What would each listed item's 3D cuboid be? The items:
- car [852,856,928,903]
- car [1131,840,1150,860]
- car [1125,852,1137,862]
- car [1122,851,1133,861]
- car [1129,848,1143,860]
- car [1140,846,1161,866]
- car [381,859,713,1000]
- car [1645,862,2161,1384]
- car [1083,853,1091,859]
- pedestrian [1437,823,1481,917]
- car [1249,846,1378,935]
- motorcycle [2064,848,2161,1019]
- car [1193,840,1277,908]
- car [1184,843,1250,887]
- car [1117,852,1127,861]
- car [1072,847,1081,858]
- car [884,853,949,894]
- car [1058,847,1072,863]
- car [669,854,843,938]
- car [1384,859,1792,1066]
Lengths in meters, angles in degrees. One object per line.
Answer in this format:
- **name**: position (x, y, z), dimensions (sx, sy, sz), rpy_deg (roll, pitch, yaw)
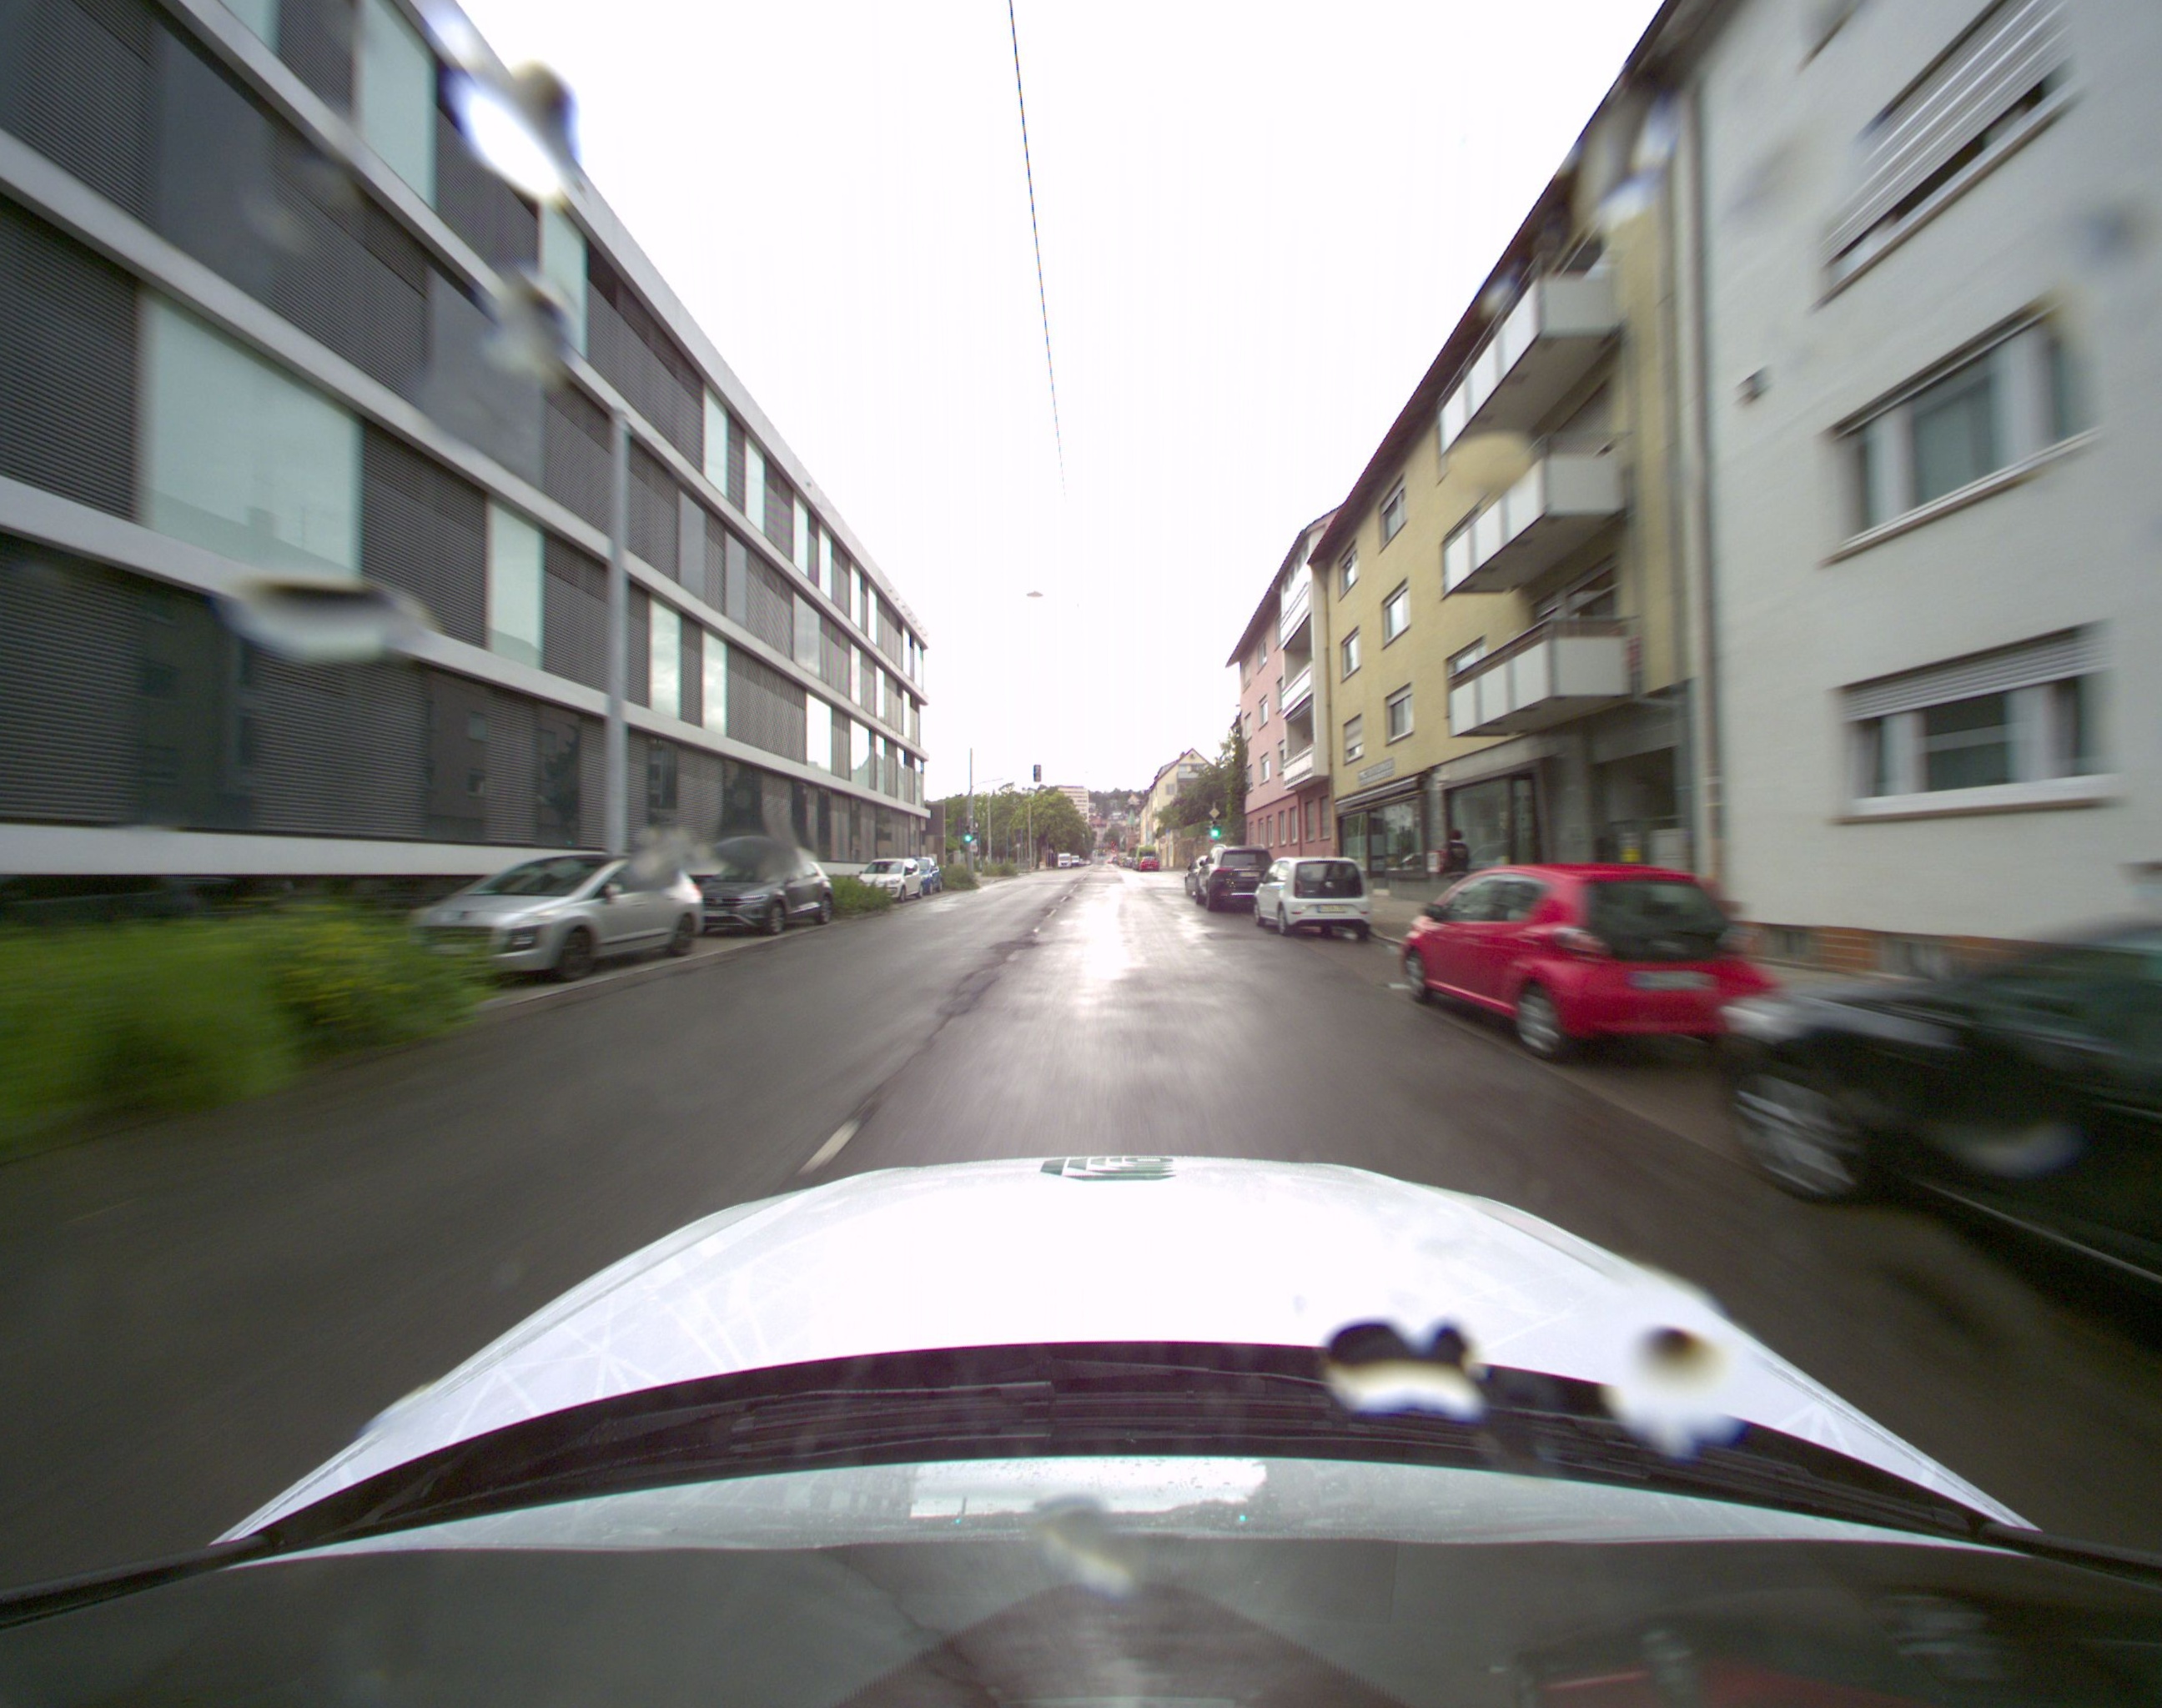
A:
- **car**: position (-6.648, 0.839, 28.663), dimensions (1.588, 1.459, 3.722), rpy_deg (-1, 1, 3)
- **car**: position (6.136, -0.380, 83.778), dimensions (1.858, 1.973, 4.194), rpy_deg (-1, 0, 5)
- **car**: position (7.948, 0.489, 129.319), dimensions (1.858, 1.604, 4.194), rpy_deg (-1, 0, 5)
- **car**: position (8.271, 0.351, 144.675), dimensions (1.858, 1.604, 4.194), rpy_deg (-1, 0, 5)
- **car**: position (7.447, 0.024, 109.961), dimensions (1.858, 1.604, 4.194), rpy_deg (-1, 0, 5)
- **car**: position (6.349, 0.187, 74.622), dimensions (1.858, 1.770, 4.194), rpy_deg (-1, 0, 5)
- **car**: position (-7.163, 0.895, 11.595), dimensions (1.764, 1.534, 4.318), rpy_deg (-1, 1, 2)
- **car**: position (3.936, 0.779, 2.524), dimensions (1.700, 1.454, 3.986), rpy_deg (-1, 0, 1)
- **car**: position (1.811, 0.598, 241.622), dimensions (2.030, 1.589, 4.355), rpy_deg (-1, 0, -2)
- **pedestrian**: position (7.642, 0.326, 16.500), dimensions (0.636, 1.870, 0.539), rpy_deg (-1, -1, 3)
- **car**: position (4.519, 0.646, 16.352), dimensions (1.629, 1.571, 3.712), rpy_deg (-1, 0, 1)
- **motorcycle**: position (7.513, 0.541, 5.740), dimensions (0.251, 1.165, 0.782), rpy_deg (-1, 0, 5)
- **car**: position (4.272, 0.490, 23.151), dimensions (1.649, 1.737, 4.181), rpy_deg (-1, 1, 1)
- **car**: position (4.772, 0.338, 29.017), dimensions (1.775, 1.410, 3.765), rpy_deg (-3, 1, 2)
- **car**: position (7.725, 0.453, 152.868), dimensions (1.858, 1.604, 4.194), rpy_deg (-1, 0, 5)
- **car**: position (-0.982, -0.299, 169.318), dimensions (1.862, 2.141, 4.355), rpy_deg (-1, 0, -2)
- **car**: position (-6.781, 0.759, 33.927), dimensions (1.861, 1.525, 4.196), rpy_deg (-1, 1, -1)
- **car**: position (-2.547, 0.161, 130.460), dimensions (2.098, 2.546, 4.749), rpy_deg (-1, 0, 0)
- **car**: position (-6.847, 0.816, 17.716), dimensions (1.793, 1.604, 4.239), rpy_deg (-1, 0, 5)
- **car**: position (4.225, 0.771, 7.533), dimensions (1.576, 1.413, 3.655), rpy_deg (-1, 0, 1)
